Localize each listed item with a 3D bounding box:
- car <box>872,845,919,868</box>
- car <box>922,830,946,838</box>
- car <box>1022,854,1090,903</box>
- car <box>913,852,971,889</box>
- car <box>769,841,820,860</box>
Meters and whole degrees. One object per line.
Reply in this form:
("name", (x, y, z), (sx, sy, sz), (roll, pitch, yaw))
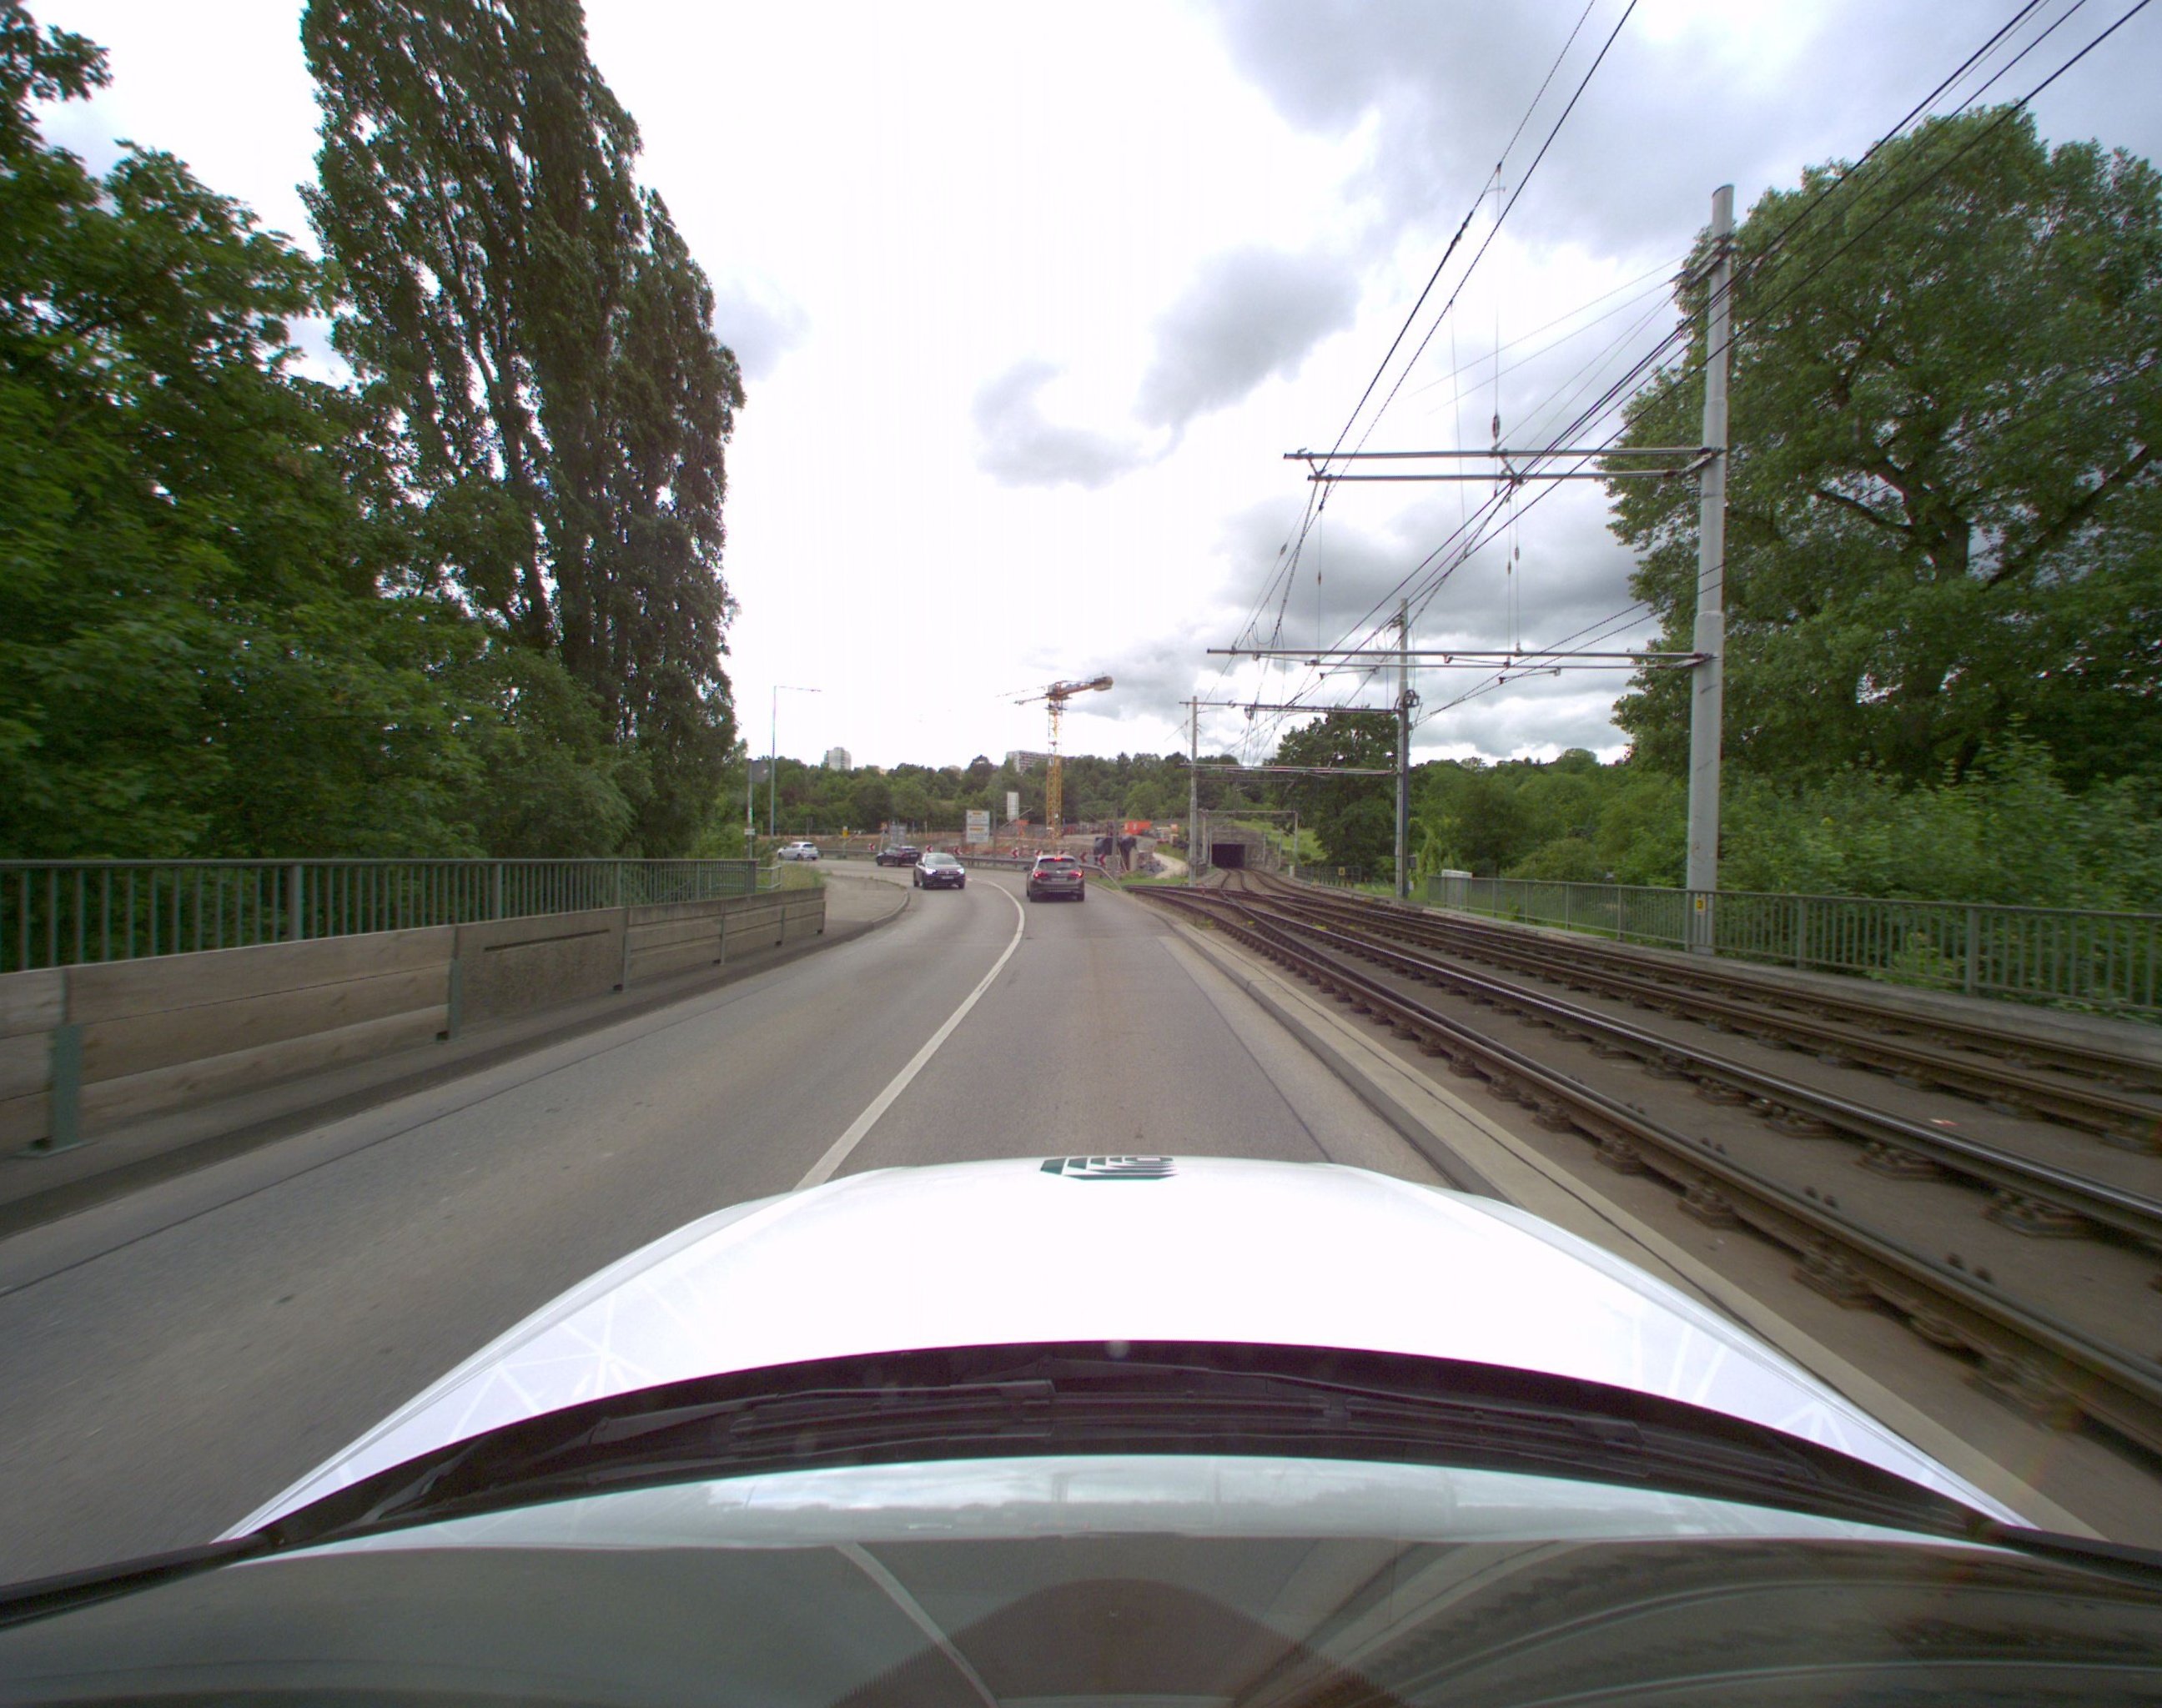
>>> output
("car", (-13.275, 0.152, 58.141), (1.693, 1.606, 4.261), (-1, 1, -37))
("car", (-27.507, -3.670, 152.263), (3.950, 1.409, 1.811), (2, 0, 28))
("car", (-0.931, 0.764, 27.565), (1.829, 1.510, 3.988), (0, 0, -9))
("car", (-6.089, 0.667, 35.415), (1.835, 1.510, 3.974), (-1, 1, -19))
("car", (-23.956, -0.319, 68.100), (4.254, 1.606, 1.696), (1, 1, 32))
